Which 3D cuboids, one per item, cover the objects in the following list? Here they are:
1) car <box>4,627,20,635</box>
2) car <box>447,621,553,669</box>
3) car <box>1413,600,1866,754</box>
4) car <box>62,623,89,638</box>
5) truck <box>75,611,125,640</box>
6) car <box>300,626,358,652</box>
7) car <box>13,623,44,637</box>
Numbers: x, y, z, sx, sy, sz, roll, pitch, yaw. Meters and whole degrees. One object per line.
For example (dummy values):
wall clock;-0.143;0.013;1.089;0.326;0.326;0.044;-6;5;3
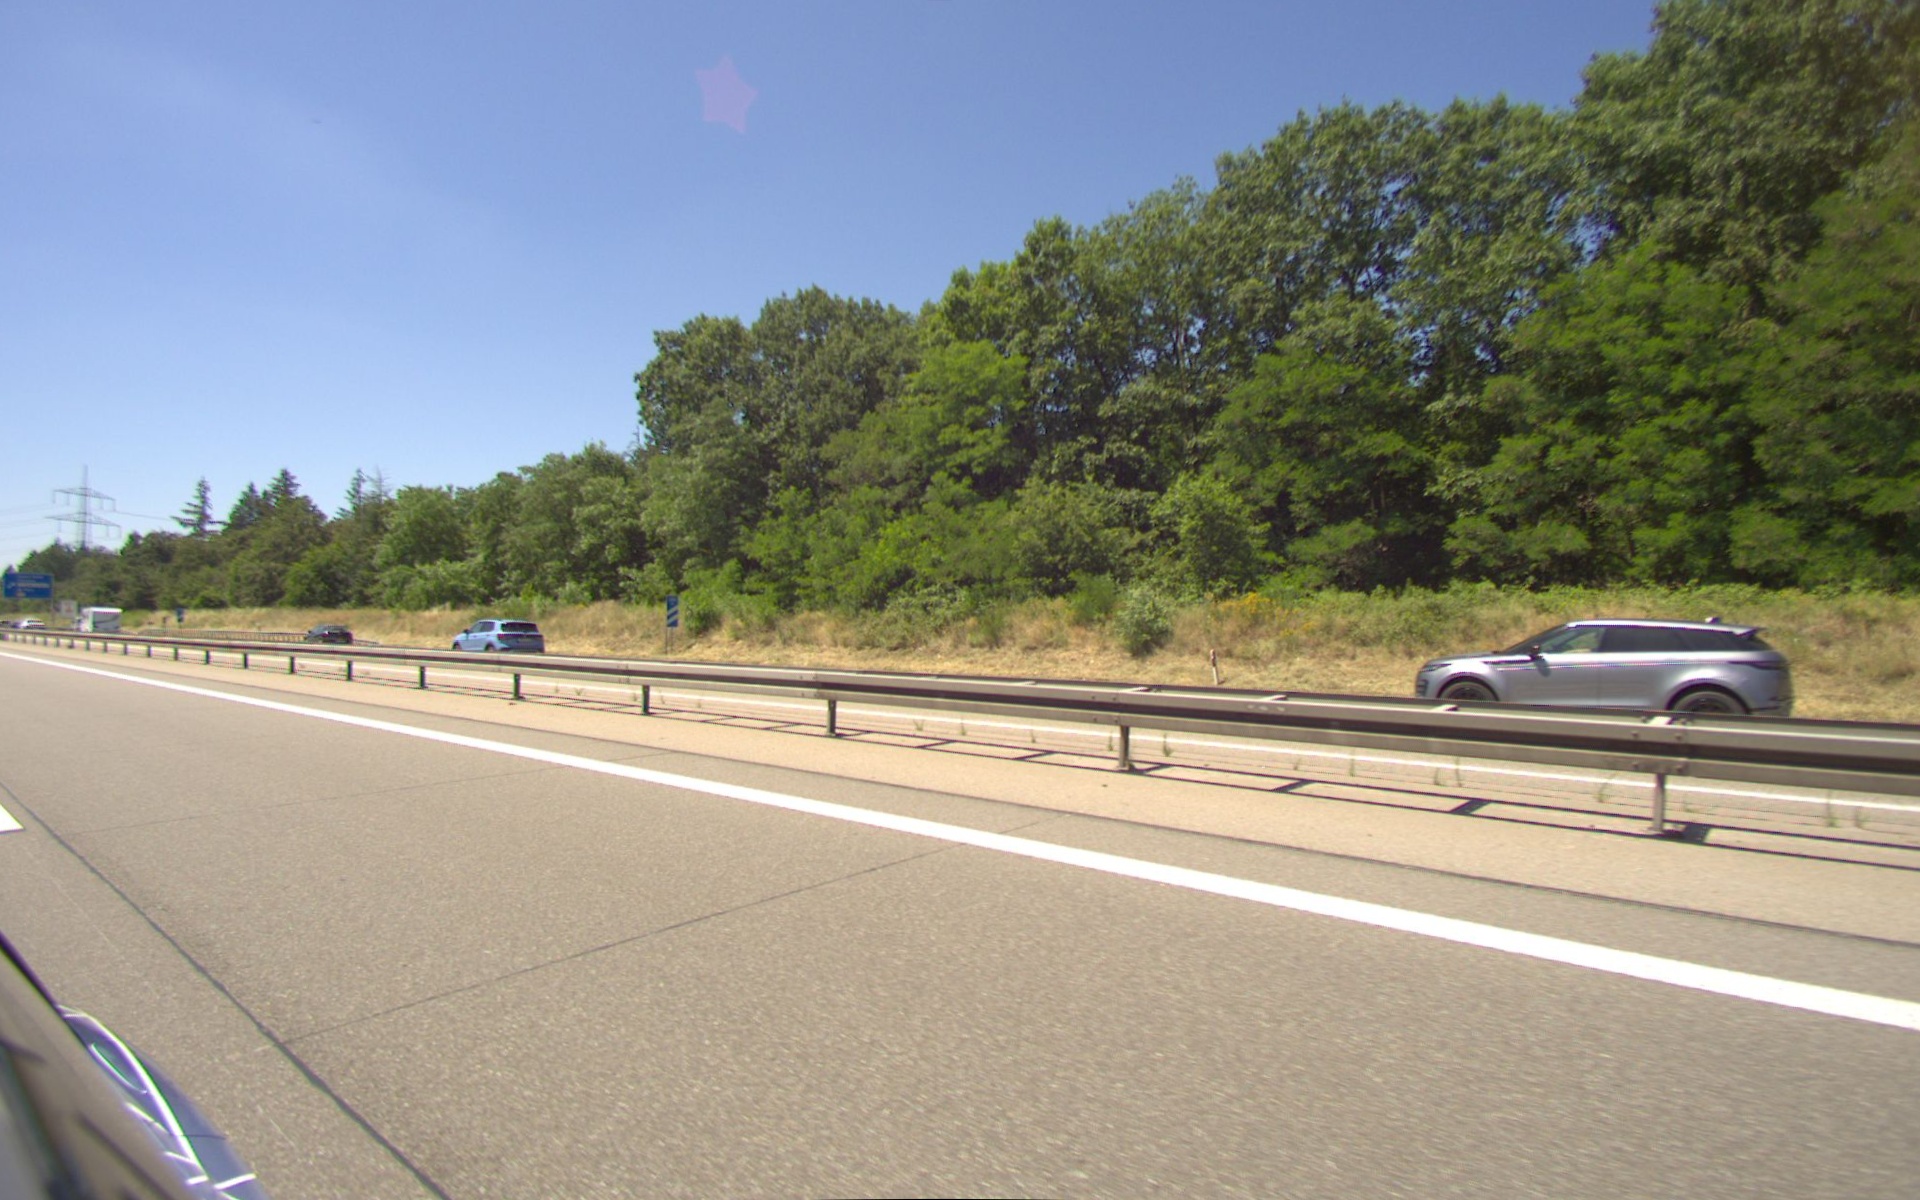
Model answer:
car;-163.391;5.278;174.432;3.605;1.265;1.640;-1;-4;40
car;-15.831;1.520;34.756;3.906;1.534;1.753;-1;-4;40
car;8.747;0.938;13.393;4.718;1.693;1.870;-1;-4;40
car;-98.413;3.402;112.612;3.605;1.659;1.640;-1;-4;40
truck;-85.191;2.534;100.223;6.362;2.693;2.623;-1;-4;40
car;-37.054;2.308;59.431;3.868;1.427;1.753;-1;-4;40
car;-104.129;3.355;113.148;3.868;1.427;1.990;-1;-4;40
